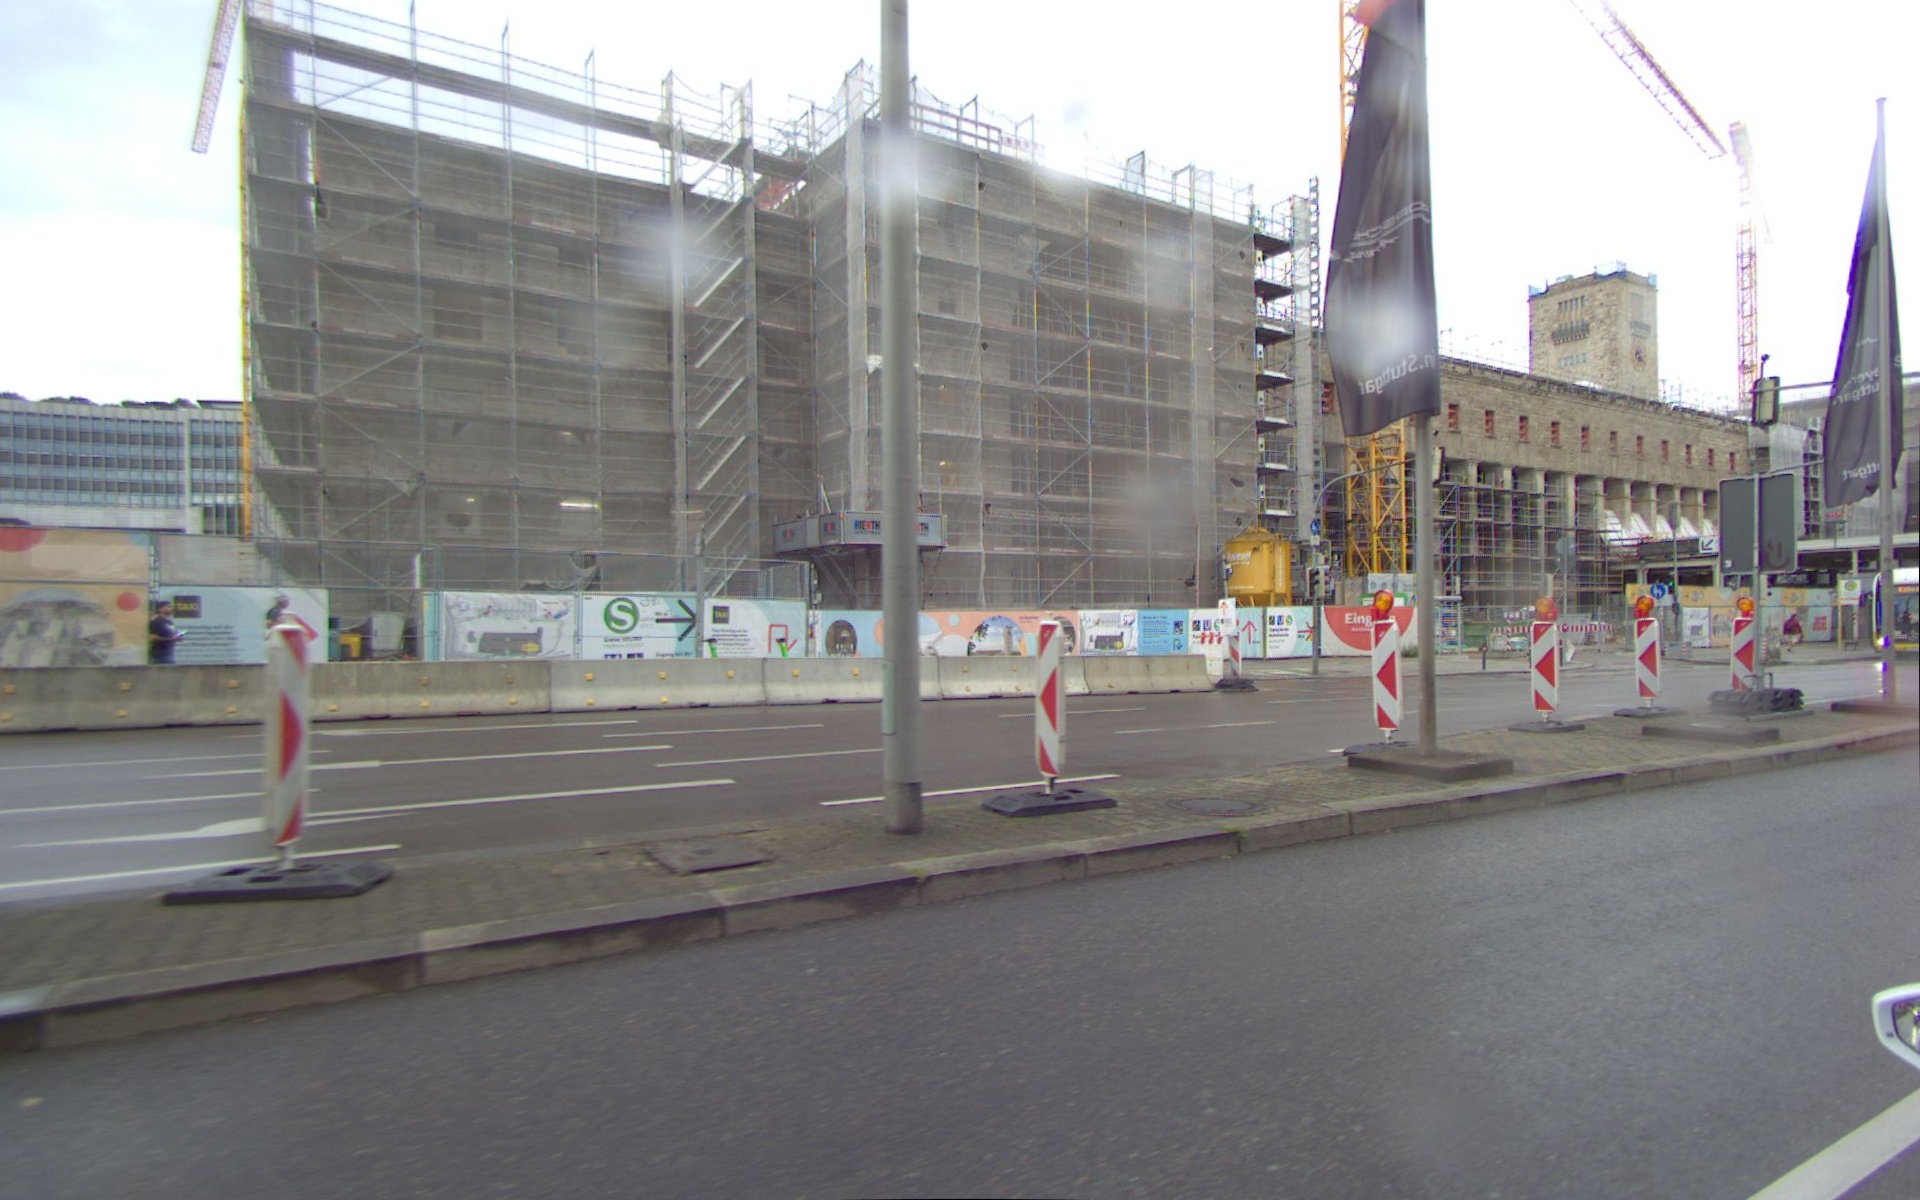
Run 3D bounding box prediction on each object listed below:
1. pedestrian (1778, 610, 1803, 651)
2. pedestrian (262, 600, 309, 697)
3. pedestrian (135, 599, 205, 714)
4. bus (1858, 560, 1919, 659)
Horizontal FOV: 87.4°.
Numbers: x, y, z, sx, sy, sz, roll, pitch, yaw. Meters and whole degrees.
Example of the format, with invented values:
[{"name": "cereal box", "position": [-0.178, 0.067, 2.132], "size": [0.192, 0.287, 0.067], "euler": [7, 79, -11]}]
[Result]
[{"name": "pedestrian", "position": [38.171, 1.387, 46.178], "size": [0.789, 1.879, 0.659], "euler": [1, -1, -30]}, {"name": "pedestrian", "position": [-13.189, 0.945, 19.654], "size": [0.709, 1.860, 0.478], "euler": [1, 0, -30]}, {"name": "pedestrian", "position": [-13.145, 0.930, 16.731], "size": [0.810, 1.860, 0.576], "euler": [1, 0, -30]}, {"name": "bus", "position": [39.498, 0.427, 39.928], "size": [10.118, 3.650, 2.655], "euler": [1, 0, -30]}]
